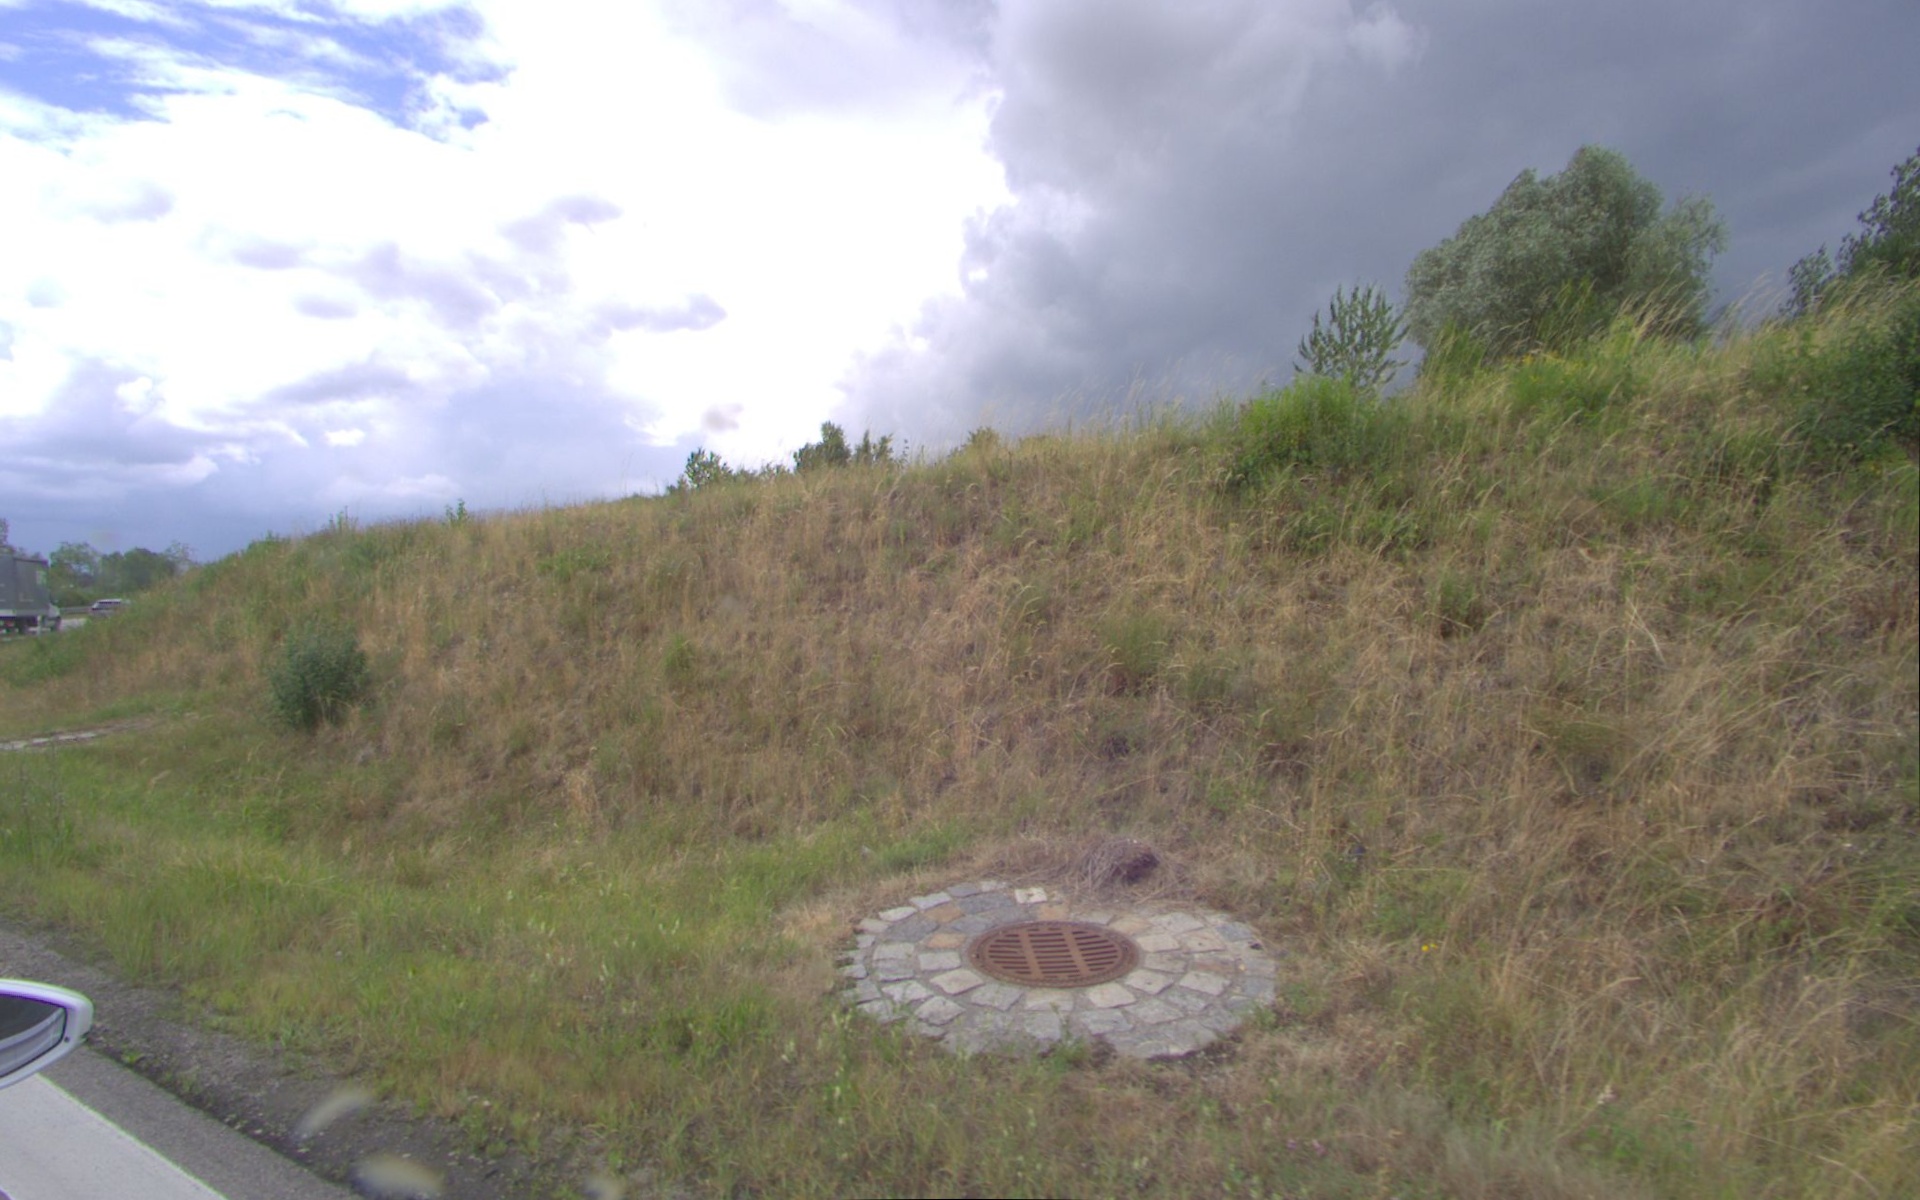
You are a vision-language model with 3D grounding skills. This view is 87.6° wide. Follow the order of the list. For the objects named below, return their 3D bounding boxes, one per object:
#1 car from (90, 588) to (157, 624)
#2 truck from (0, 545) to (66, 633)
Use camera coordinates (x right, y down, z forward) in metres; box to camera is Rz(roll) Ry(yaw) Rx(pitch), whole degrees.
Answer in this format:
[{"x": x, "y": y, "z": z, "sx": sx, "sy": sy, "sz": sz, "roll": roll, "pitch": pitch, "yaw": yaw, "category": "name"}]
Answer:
[{"x": -50.186, "y": 0.388, "z": 60.168, "sx": 1.967, "sy": 2.039, "sz": 3.989, "roll": 0, "pitch": -2, "yaw": -22, "category": "car"}, {"x": -45.147, "y": -0.438, "z": 47.823, "sx": 2.202, "sy": 3.956, "sz": 5.992, "roll": 0, "pitch": -2, "yaw": -27, "category": "truck"}]
